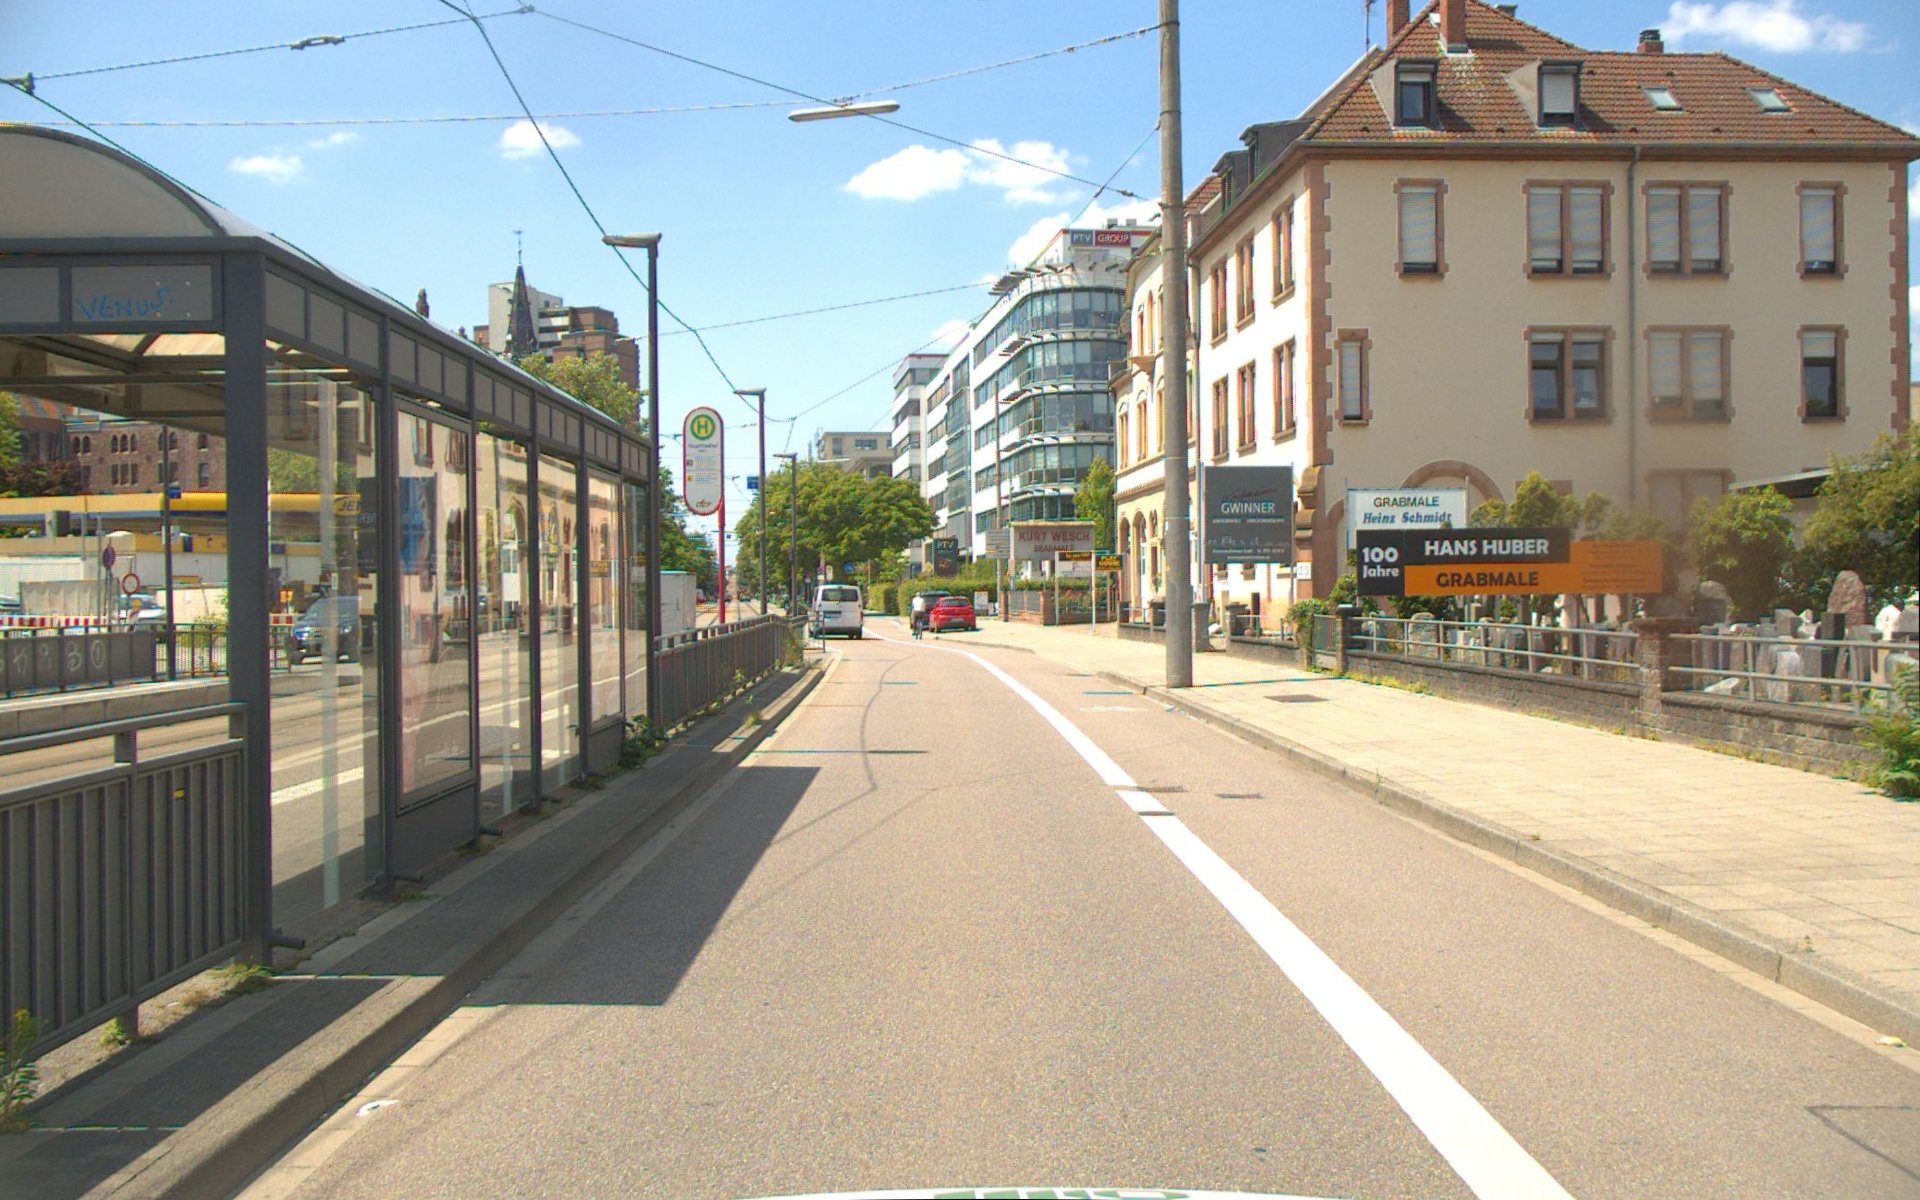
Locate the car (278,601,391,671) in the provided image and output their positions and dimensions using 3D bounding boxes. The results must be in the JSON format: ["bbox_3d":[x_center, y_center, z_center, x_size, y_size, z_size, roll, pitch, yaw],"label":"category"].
[{"bbox_3d":[-15.956,0.888,42.367,1.665,1.644,3.755,-1,0,-4],"label":"car"}]

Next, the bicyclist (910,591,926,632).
[{"bbox_3d":[-1.496,0.402,58.802,0.579,1.421,0.841,0,0,-2],"label":"bicyclist"}]

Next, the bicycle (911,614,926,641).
[{"bbox_3d":[-1.478,0.982,58.961,0.456,0.903,2.046,0,0,-4],"label":"bicycle"}]

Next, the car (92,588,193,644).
[{"bbox_3d":[-27.731,0.542,56.068,2.041,1.594,3.938,-3,-1,-42],"label":"car"}]

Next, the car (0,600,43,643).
[{"bbox_3d":[-35.108,0.774,59.129,3.918,1.489,1.761,0,0,14],"label":"car"}]

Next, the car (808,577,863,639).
[{"bbox_3d":[-4.422,0.244,58.334,1.719,2.048,3.994,-2,1,-7],"label":"car"}]

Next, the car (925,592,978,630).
[{"bbox_3d":[-0.374,0.435,69.171,1.680,1.478,4.065,-3,1,-8],"label":"car"}]

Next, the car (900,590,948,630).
[{"bbox_3d":[-1.689,0.434,75.381,1.827,1.716,4.995,-2,1,-5],"label":"car"}]
